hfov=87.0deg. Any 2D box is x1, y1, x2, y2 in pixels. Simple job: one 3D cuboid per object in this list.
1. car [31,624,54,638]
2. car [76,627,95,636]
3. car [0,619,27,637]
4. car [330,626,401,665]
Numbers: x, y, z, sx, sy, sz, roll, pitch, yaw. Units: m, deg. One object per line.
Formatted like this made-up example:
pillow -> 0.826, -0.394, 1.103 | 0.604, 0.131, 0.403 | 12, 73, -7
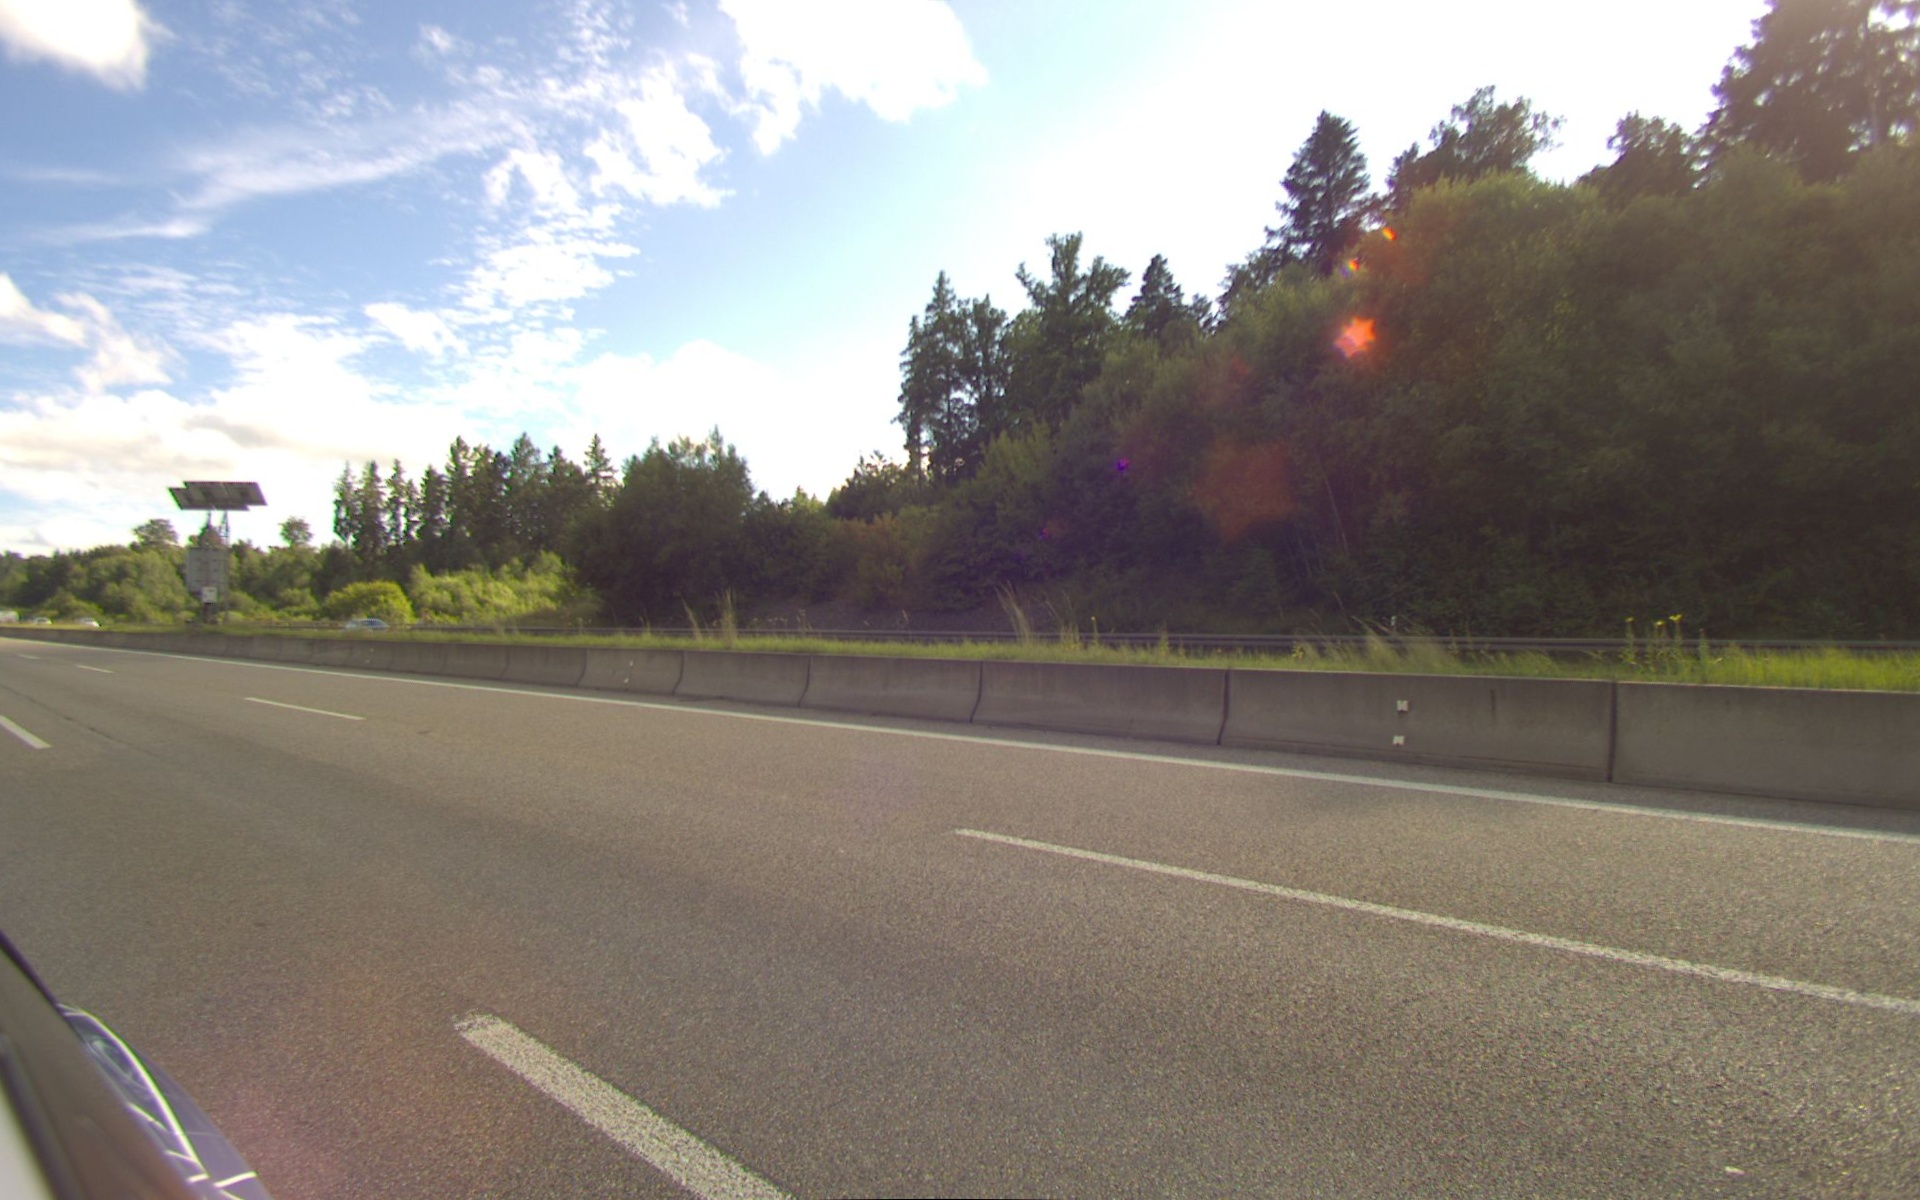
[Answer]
car -> -123.818, 4.173, 136.544 | 4.492, 1.819, 1.903 | -1, -1, 42
car -> -113.297, 4.066, 131.106 | 3.172, 1.102, 1.574 | -1, -1, 42
car -> -125.909, 3.688, 134.265 | 5.828, 2.364, 2.551 | -1, -1, 42
car -> -31.094, 2.317, 52.890 | 4.427, 1.920, 1.906 | -1, -1, 41
